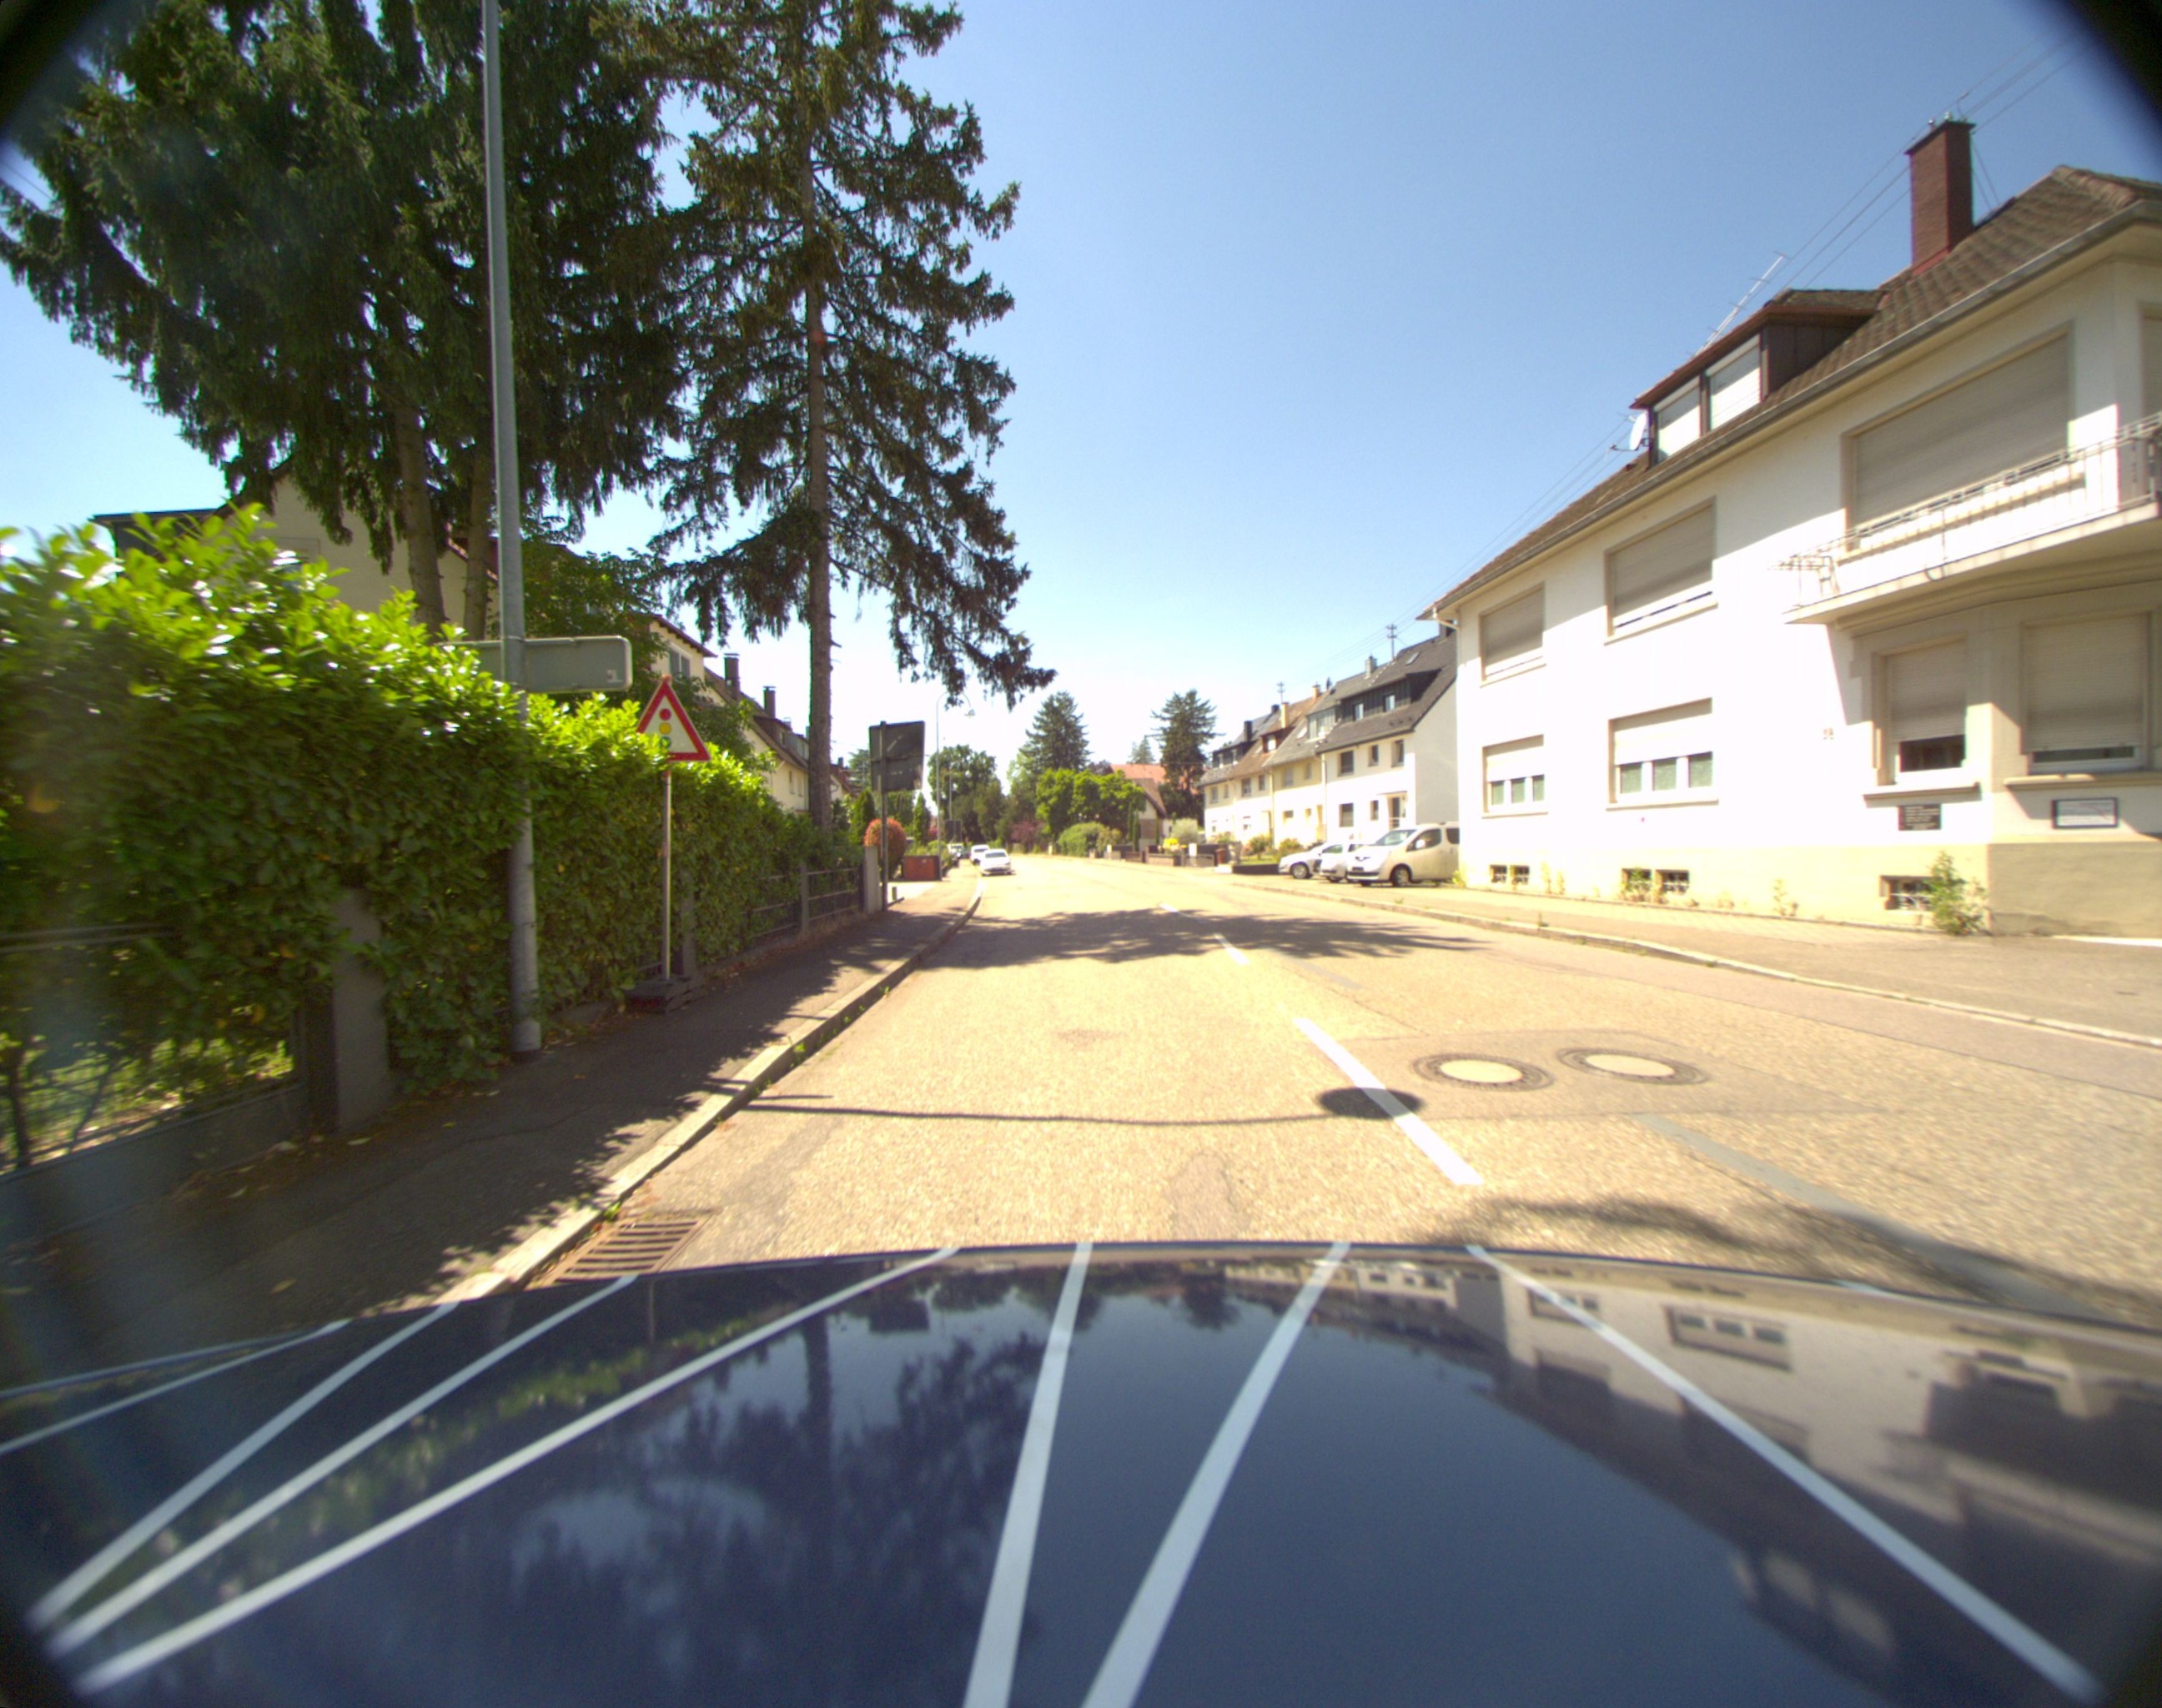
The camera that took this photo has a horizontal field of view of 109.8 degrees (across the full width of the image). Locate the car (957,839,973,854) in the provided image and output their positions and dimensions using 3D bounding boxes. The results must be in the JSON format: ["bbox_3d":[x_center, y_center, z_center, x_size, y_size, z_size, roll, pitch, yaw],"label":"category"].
[{"bbox_3d":[-14.115,-0.933,92.433,1.690,1.769,3.935,-4,2,-11],"label":"car"}]

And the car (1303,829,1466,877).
[{"bbox_3d":[9.753,-0.050,24.634,4.484,1.487,1.975,0,1,-4],"label":"car"}]

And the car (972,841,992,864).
[{"bbox_3d":[-8.865,-0.144,68.163,1.689,1.770,3.935,-3,4,-7],"label":"car"}]

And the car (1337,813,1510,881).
[{"bbox_3d":[9.947,-0.201,22.189,4.367,1.866,1.848,0,1,-12],"label":"car"}]

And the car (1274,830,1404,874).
[{"bbox_3d":[9.410,-0.100,27.696,4.264,1.487,1.880,1,1,26],"label":"car"}]

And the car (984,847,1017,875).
[{"bbox_3d":[-4.637,0.365,43.543,1.689,1.447,3.736,-3,1,-8],"label":"car"}]

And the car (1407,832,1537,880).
[{"bbox_3d":[14.944,0.037,29.149,3.987,1.718,2.004,2,1,43],"label":"car"}]
